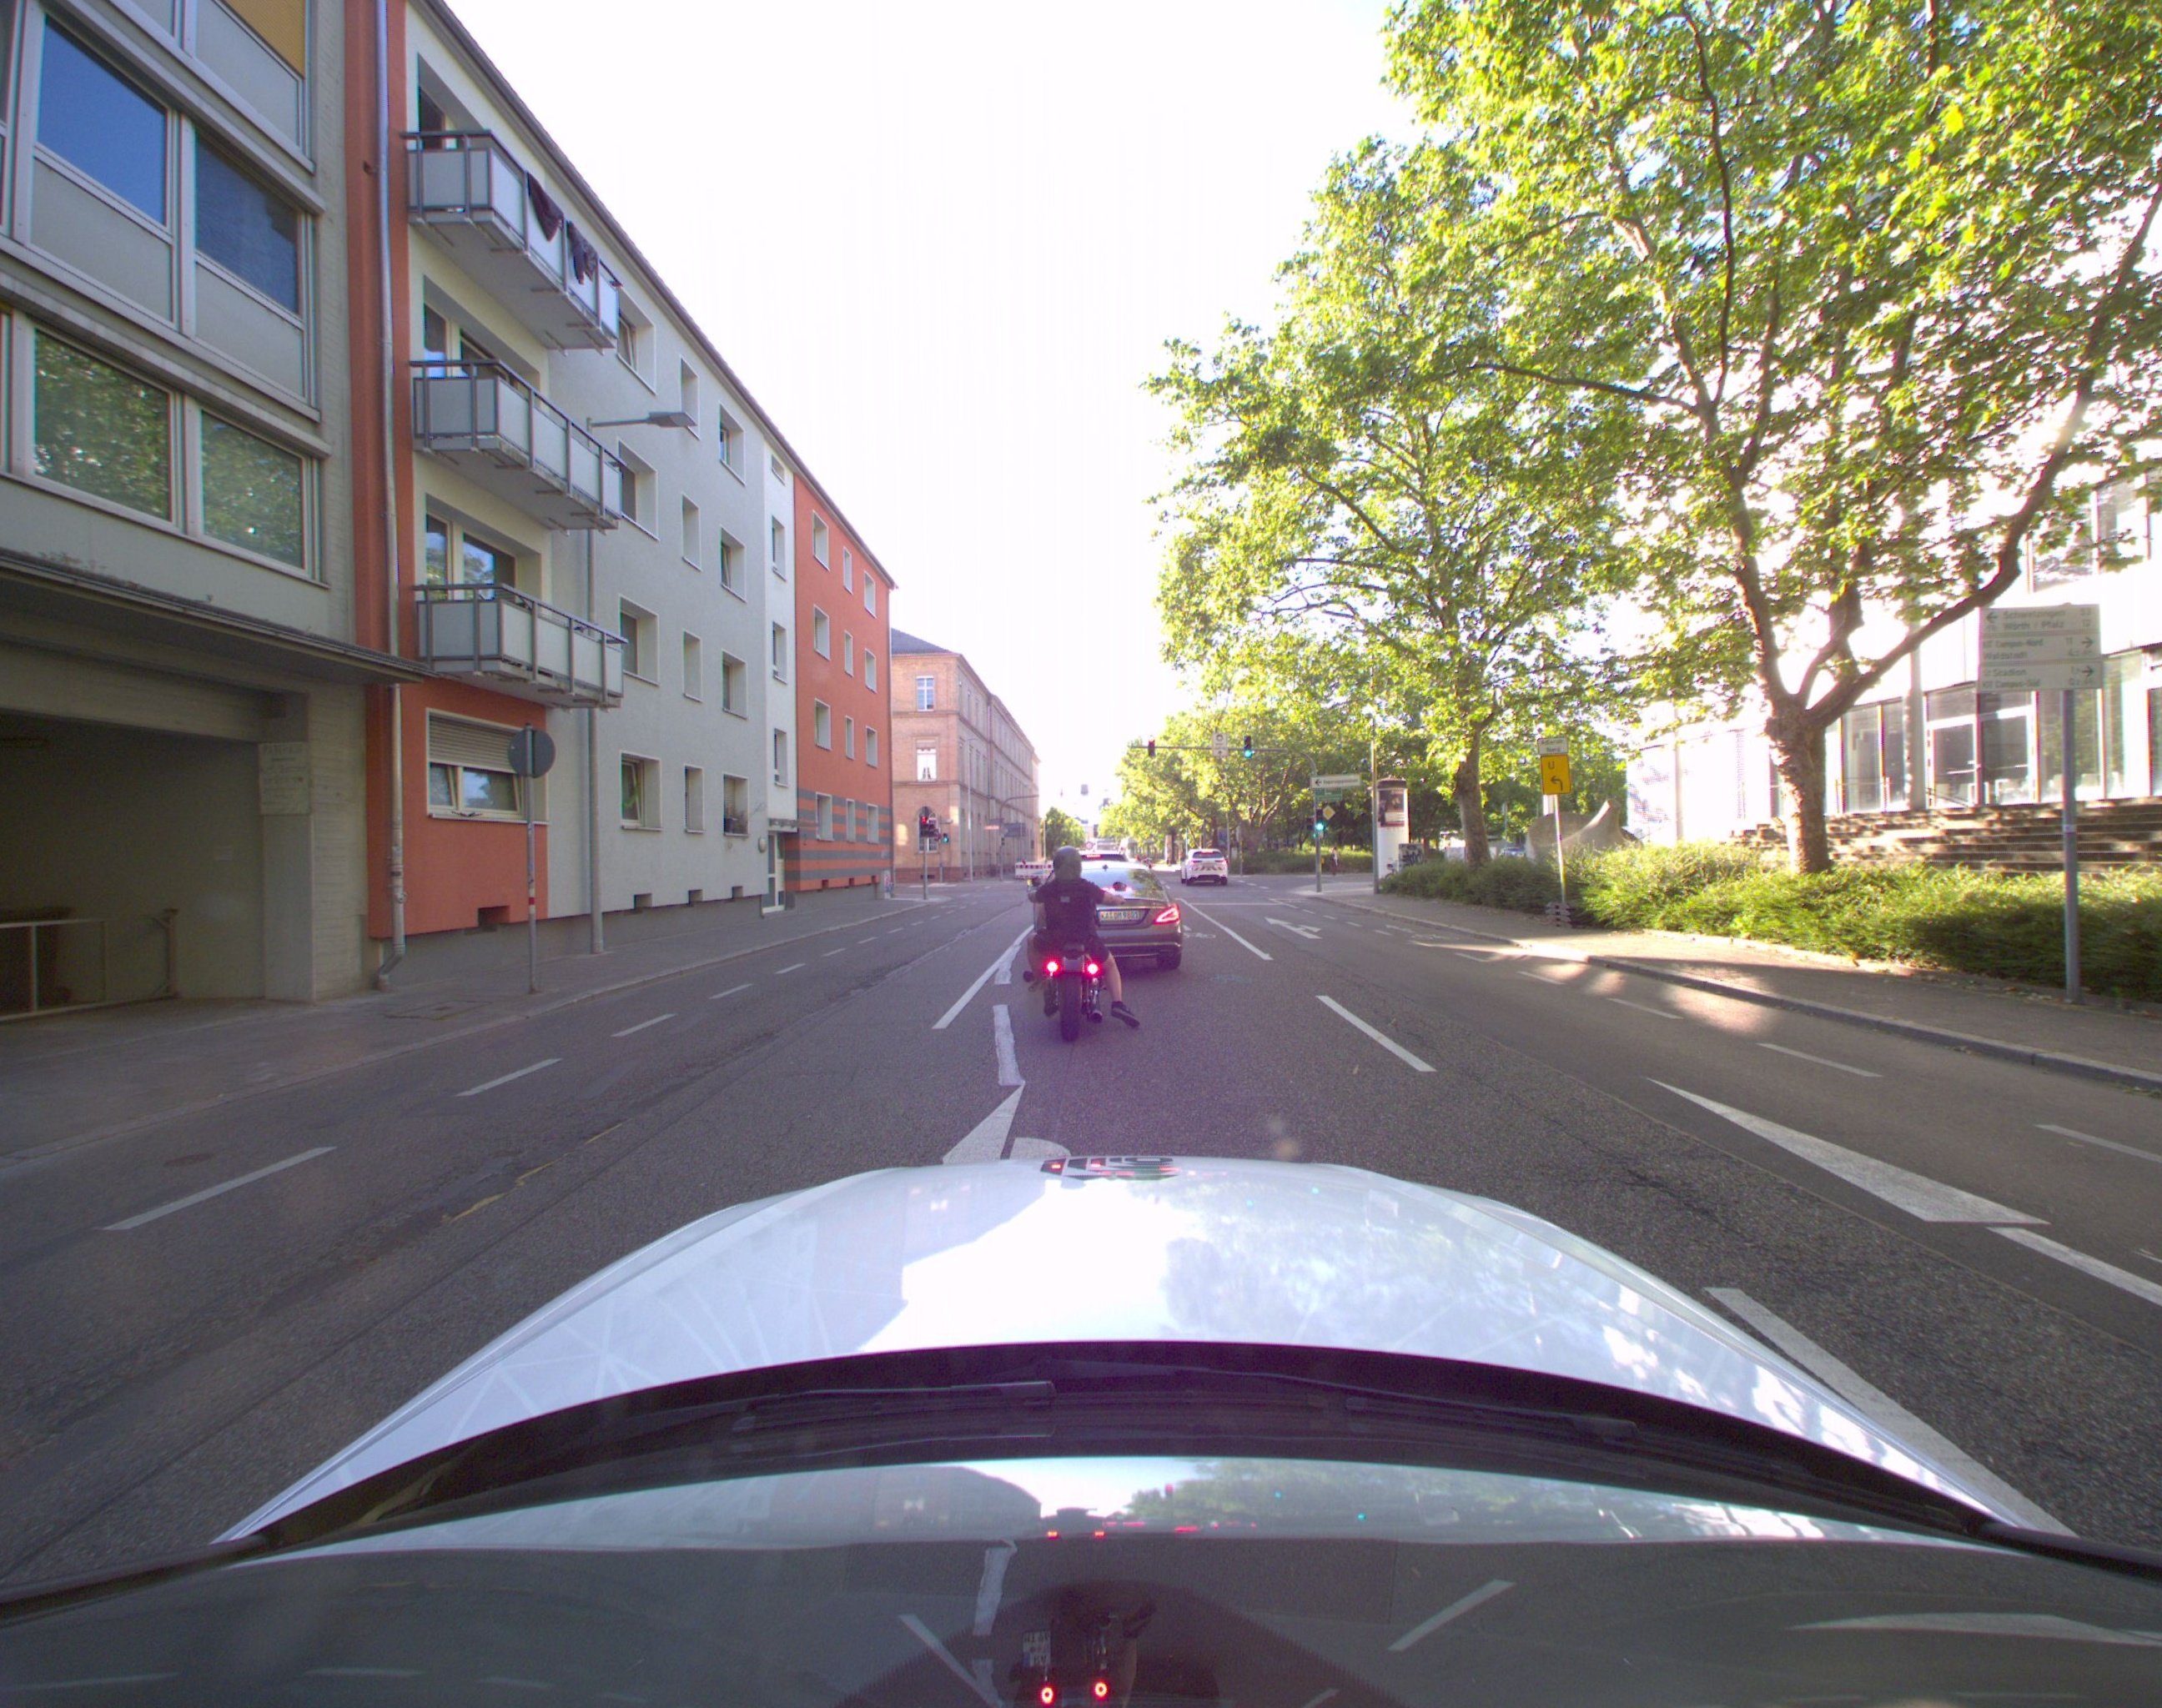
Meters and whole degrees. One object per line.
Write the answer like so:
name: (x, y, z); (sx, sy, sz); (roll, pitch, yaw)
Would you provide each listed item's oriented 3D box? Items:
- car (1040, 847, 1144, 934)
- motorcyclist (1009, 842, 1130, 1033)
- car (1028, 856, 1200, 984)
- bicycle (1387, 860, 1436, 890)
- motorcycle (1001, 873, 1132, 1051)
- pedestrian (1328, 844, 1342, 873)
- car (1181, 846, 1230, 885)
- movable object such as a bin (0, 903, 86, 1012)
car: (0.282, 0.720, 17.661); (1.986, 1.665, 4.001); (0, -1, 2)
motorcyclist: (-0.078, 0.697, 7.436); (0.977, 1.578, 1.249); (-1, 0, 1)
car: (0.256, 0.767, 11.733); (1.867, 1.444, 4.421); (-1, 0, -6)
bicycle: (11.071, 0.709, 27.312); (1.475, 0.980, 0.300); (0, -1, 7)
motorcycle: (-0.072, 0.849, 7.398); (0.977, 1.275, 2.408); (-1, 0, 2)
pedestrian: (15.645, 0.275, 50.113); (0.671, 1.772, 0.621); (-1, -1, 31)
car: (5.854, 0.510, 38.810); (1.935, 1.708, 4.487); (0, 0, 3)
movable object such as a bin: (-11.296, 1.082, 8.635); (0.639, 1.065, 0.675); (-1, 0, 1)
